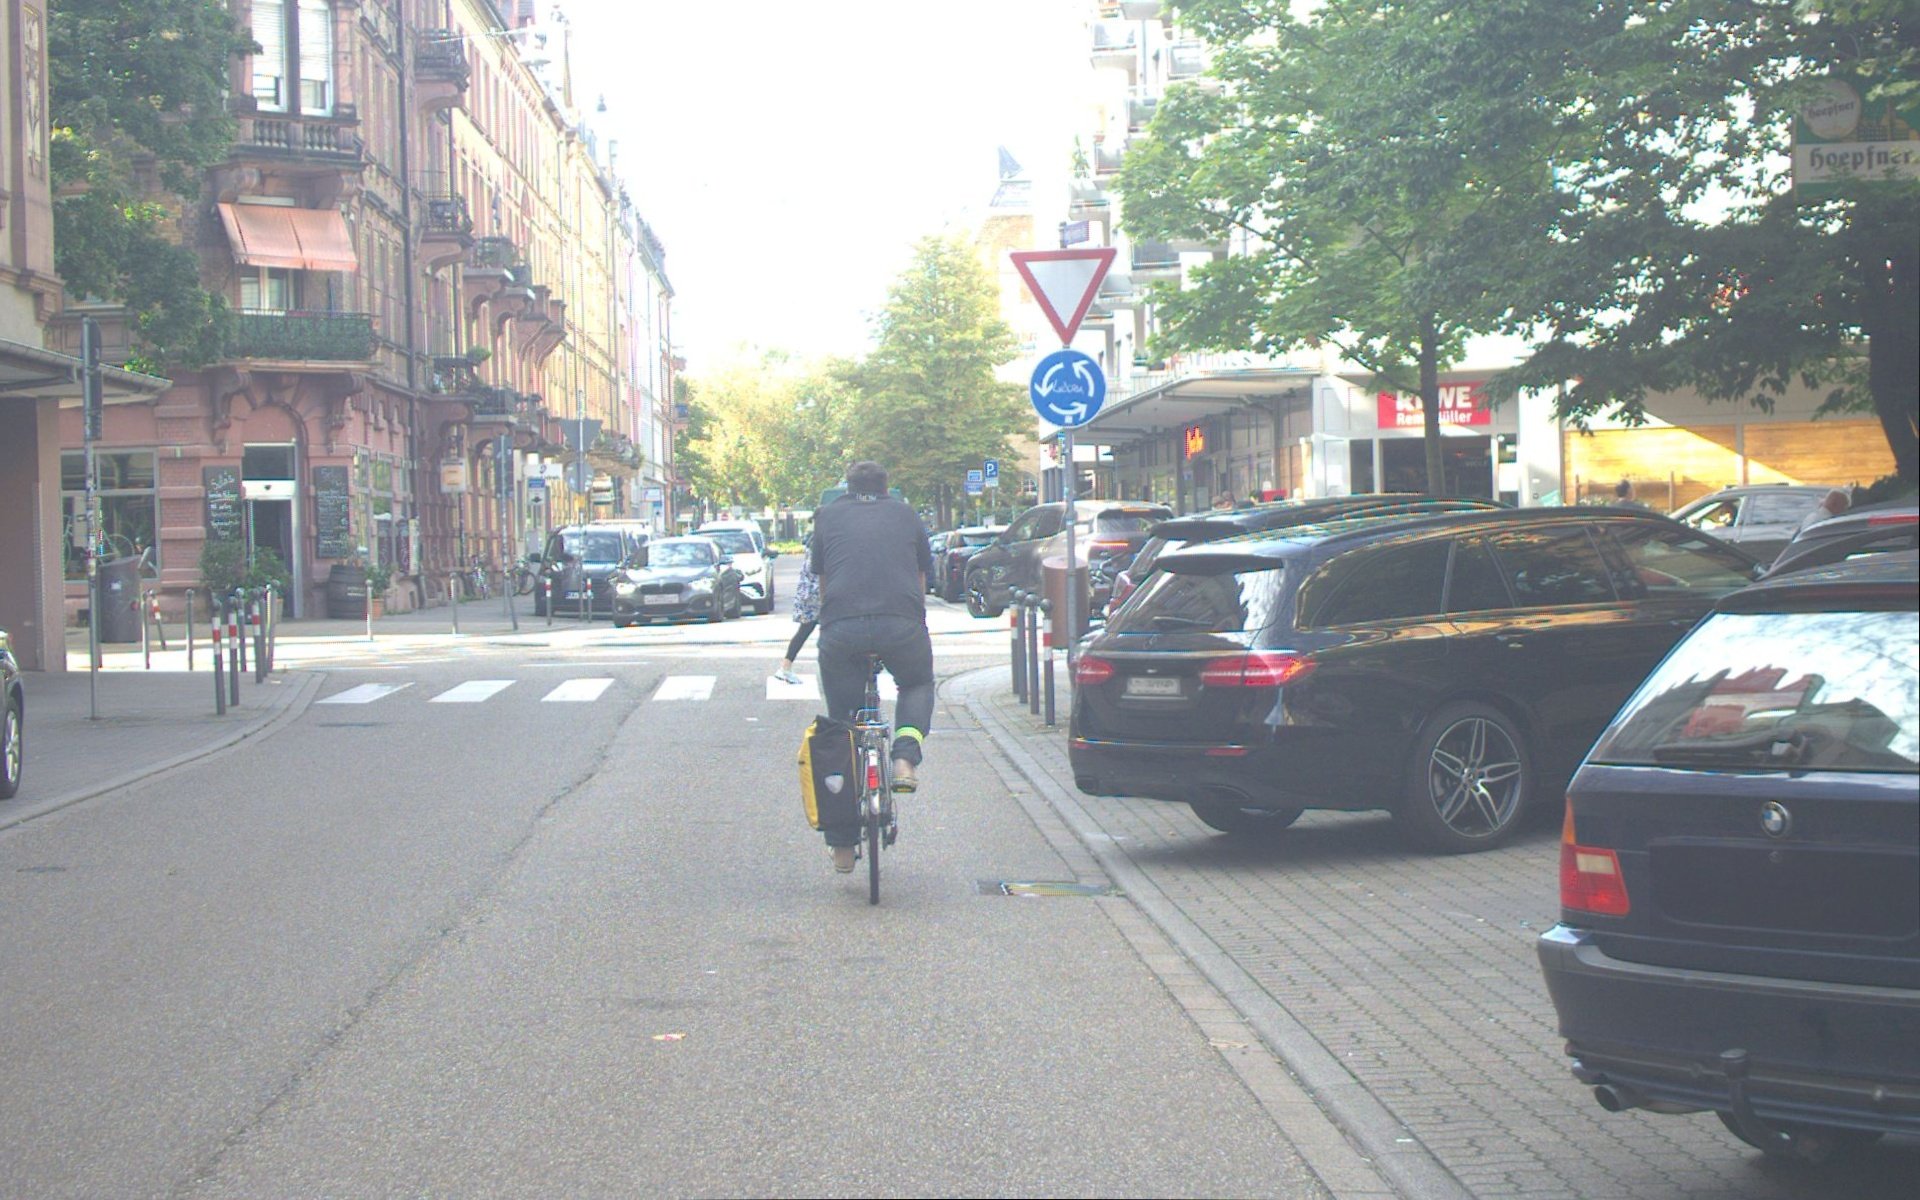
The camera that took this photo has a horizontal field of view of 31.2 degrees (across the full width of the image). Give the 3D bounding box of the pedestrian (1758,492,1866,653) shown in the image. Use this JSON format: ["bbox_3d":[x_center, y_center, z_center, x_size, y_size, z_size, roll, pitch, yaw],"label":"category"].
[{"bbox_3d":[7.521,-0.248,30.368,0.756,1.387,0.549,-2,1,-6],"label":"pedestrian"}]

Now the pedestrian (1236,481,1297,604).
[{"bbox_3d":[4.690,-0.876,52.605,0.869,1.845,0.612,-1,1,3],"label":"pedestrian"}]

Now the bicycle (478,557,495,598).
[{"bbox_3d":[-11.296,-0.549,81.958,0.360,0.944,1.716,-1,1,-7],"label":"bicycle"}]

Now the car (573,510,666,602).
[{"bbox_3d":[-7.810,-1.029,79.144,1.993,2.007,4.001,-2,1,-4],"label":"car"}]

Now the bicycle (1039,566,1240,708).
[{"bbox_3d":[1.388,0.290,26.973,0.548,1.036,1.857,-6,2,-31],"label":"bicycle"}]

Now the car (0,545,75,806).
[{"bbox_3d":[-6.241,0.449,18.551,1.993,1.415,4.245,-2,1,-3],"label":"car"}]

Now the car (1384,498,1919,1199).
[{"bbox_3d":[3.290,0.454,7.988,4.456,1.459,1.879,-5,3,-37],"label":"car"}]

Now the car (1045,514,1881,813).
[{"bbox_3d":[2.901,0.296,19.716,4.400,1.452,1.943,-2,1,-27],"label":"car"}]

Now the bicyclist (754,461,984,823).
[{"bbox_3d":[-0.394,0.163,14.457,0.933,1.478,0.747,0,1,-4],"label":"bicyclist"}]

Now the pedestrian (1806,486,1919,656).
[{"bbox_3d":[7.689,-0.251,29.107,0.797,1.402,0.703,-2,1,-6],"label":"pedestrian"}]

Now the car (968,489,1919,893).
[{"bbox_3d":[2.638,0.322,16.393,4.753,1.452,2.057,-4,3,-30],"label":"car"}]

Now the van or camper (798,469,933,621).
[{"bbox_3d":[-2.028,-1.170,72.376,2.531,3.027,4.460,-2,1,-4],"label":"van or camper"}]

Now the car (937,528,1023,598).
[{"bbox_3d":[0.408,-0.795,72.184,1.645,1.320,3.577,-4,1,-1],"label":"car"}]

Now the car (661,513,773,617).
[{"bbox_3d":[-4.575,-0.702,65.416,1.942,1.716,4.851,-3,3,-3],"label":"car"}]

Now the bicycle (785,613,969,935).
[{"bbox_3d":[-0.382,0.671,14.412,0.665,1.174,2.497,0,1,-4],"label":"bicycle"}]

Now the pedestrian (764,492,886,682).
[{"bbox_3d":[-1.290,-0.125,32.866,0.783,1.773,0.791,-1,1,36],"label":"pedestrian"}]

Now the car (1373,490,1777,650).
[{"bbox_3d":[7.758,-0.392,43.396,4.832,1.718,2.042,-2,3,11],"label":"car"}]

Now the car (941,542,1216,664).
[{"bbox_3d":[1.646,0.025,49.070,1.994,1.612,4.000,-2,1,-32],"label":"car"}]

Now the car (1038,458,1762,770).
[{"bbox_3d":[2.892,0.039,22.380,4.341,1.639,1.822,-5,2,-28],"label":"car"}]

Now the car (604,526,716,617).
[{"bbox_3d":[-4.918,-0.465,56.731,1.749,1.431,4.212,-1,0,-4],"label":"car"}]

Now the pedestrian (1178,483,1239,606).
[{"bbox_3d":[3.808,-0.850,52.693,0.869,1.845,0.612,-1,1,3],"label":"pedestrian"}]

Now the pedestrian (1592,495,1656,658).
[{"bbox_3d":[7.203,-0.261,37.301,0.629,1.733,0.775,-1,1,10],"label":"pedestrian"}]

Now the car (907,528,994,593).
[{"bbox_3d":[-0.256,-0.975,84.030,1.993,1.481,4.000,-2,1,-1],"label":"car"}]

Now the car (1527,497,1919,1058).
[{"bbox_3d":[3.711,0.401,10.884,3.709,1.480,1.741,-4,3,-40],"label":"car"}]

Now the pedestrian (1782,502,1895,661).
[{"bbox_3d":[7.610,-0.164,29.787,0.756,1.338,0.597,-2,1,-6],"label":"pedestrian"}]

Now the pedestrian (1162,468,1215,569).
[{"bbox_3d":[3.729,-1.330,55.997,0.745,1.623,0.812,-1,1,9],"label":"pedestrian"}]
